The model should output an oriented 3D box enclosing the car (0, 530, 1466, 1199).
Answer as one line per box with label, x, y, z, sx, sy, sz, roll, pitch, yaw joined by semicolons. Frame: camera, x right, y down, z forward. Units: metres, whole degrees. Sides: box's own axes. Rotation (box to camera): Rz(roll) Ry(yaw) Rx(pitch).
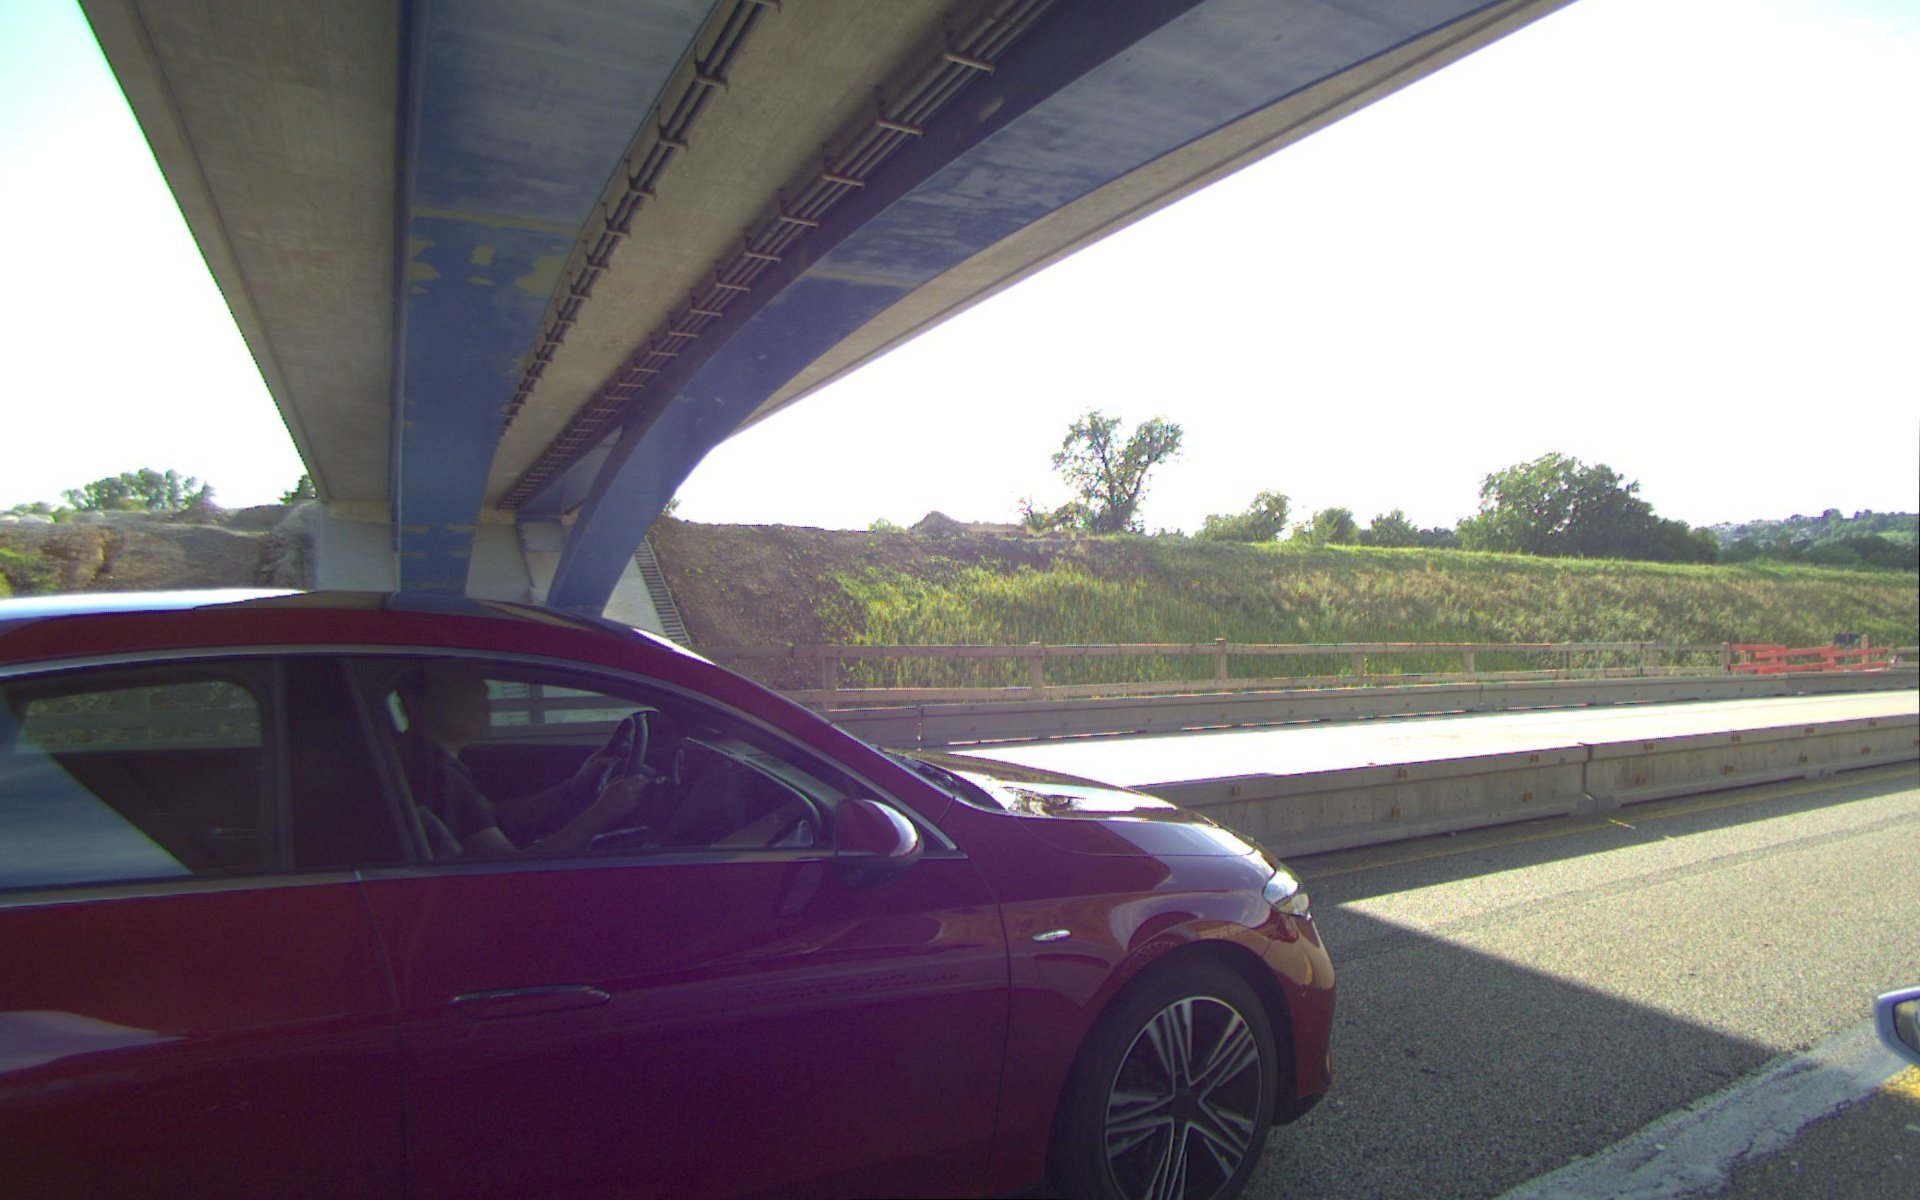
car;-1.022;0.673;2.406;4.631;1.512;1.814;1;0;-31
